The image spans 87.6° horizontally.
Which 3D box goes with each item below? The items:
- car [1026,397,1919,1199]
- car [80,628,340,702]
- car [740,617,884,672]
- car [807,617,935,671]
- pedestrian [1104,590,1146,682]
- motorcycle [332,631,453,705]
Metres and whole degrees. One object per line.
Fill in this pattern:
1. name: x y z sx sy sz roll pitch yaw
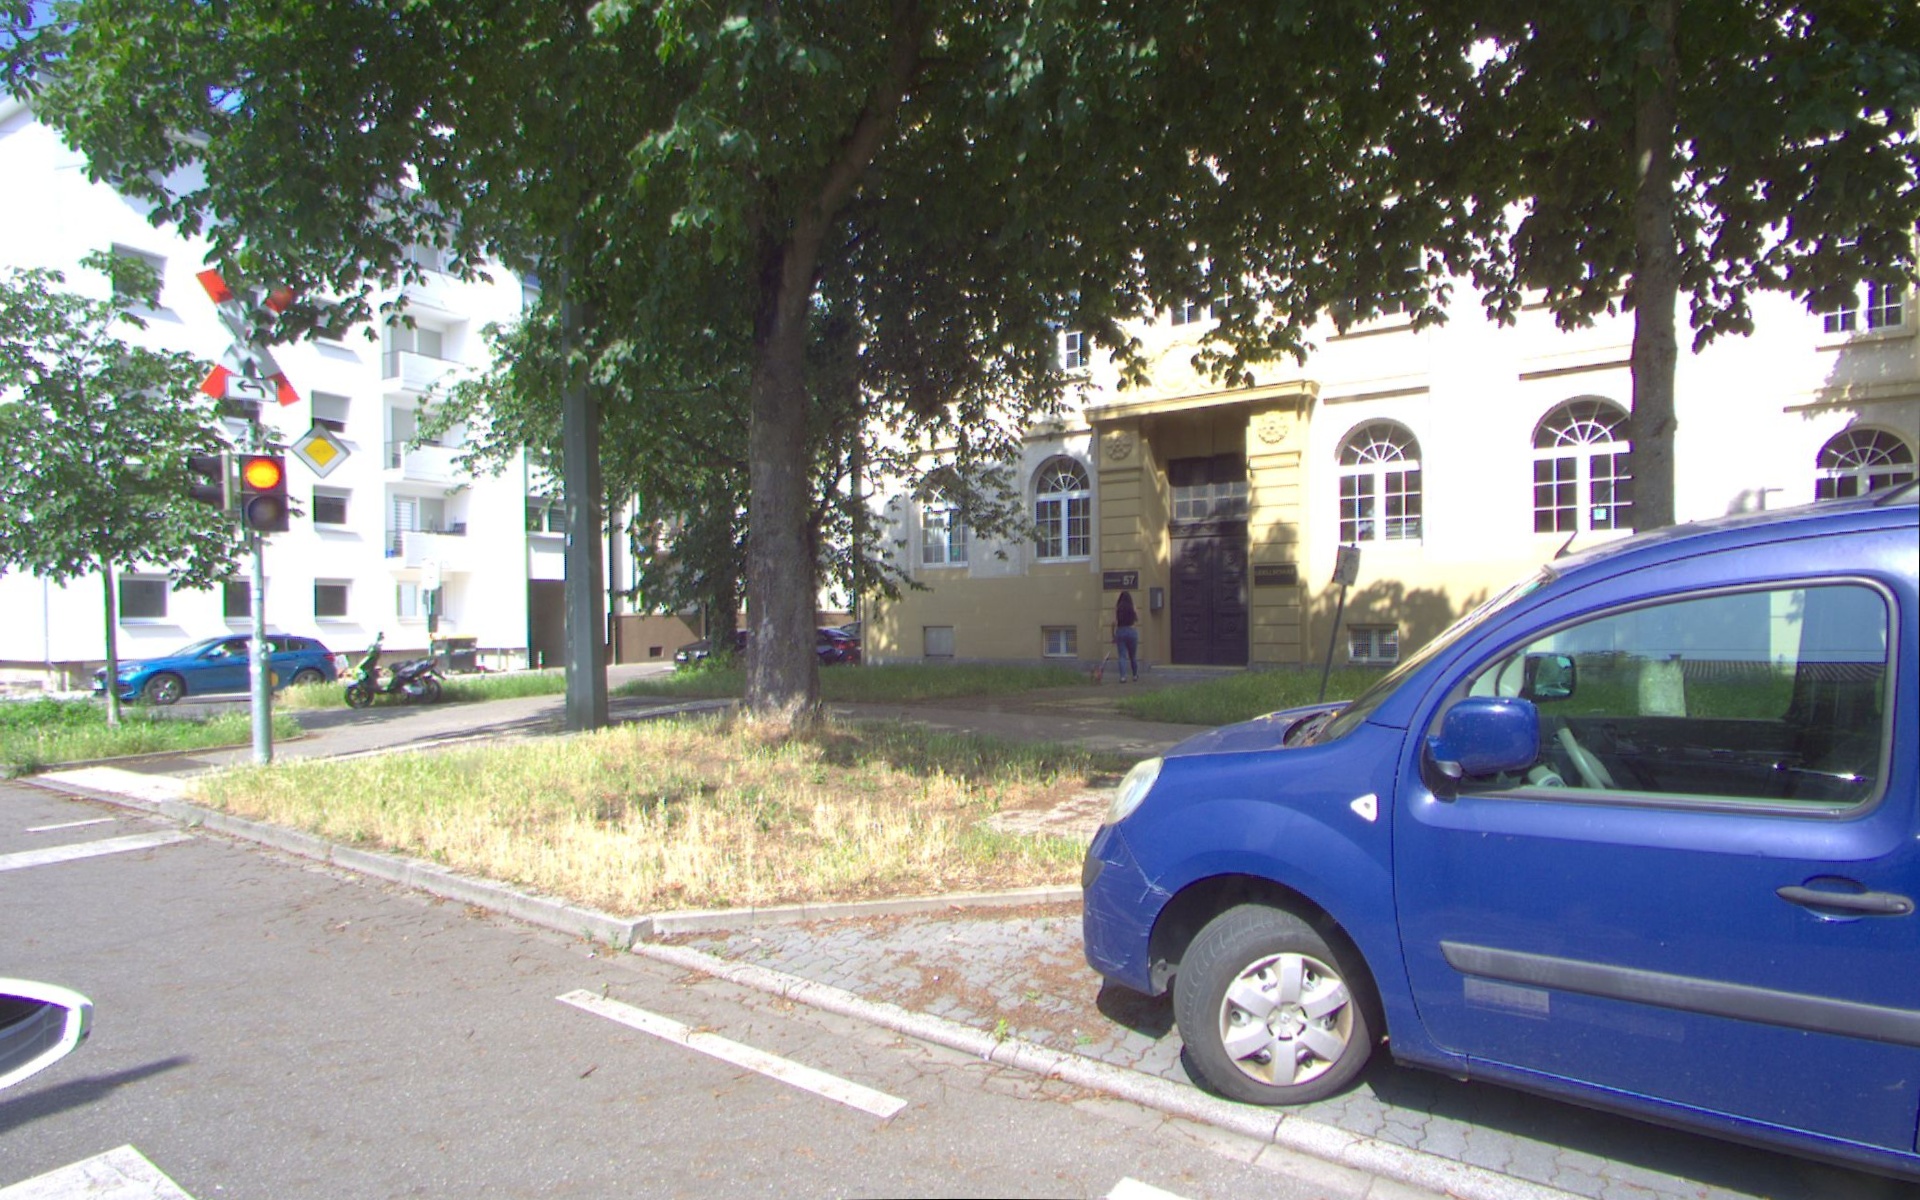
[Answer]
1. car: 2.417 0.536 2.839 4.128 1.921 1.816 0 1 36
2. car: -16.105 1.365 21.731 1.755 1.430 4.160 -1 -3 32
3. car: -4.295 1.256 28.940 3.942 1.478 1.736 -1 0 32
4. car: -2.819 1.324 31.334 3.955 1.560 1.797 -1 -1 42
5. pedestrian: 2.979 0.641 18.073 0.532 1.617 0.630 -1 0 31
6. motorcycle: -10.389 1.238 18.357 1.811 1.233 0.571 -2 4 0
